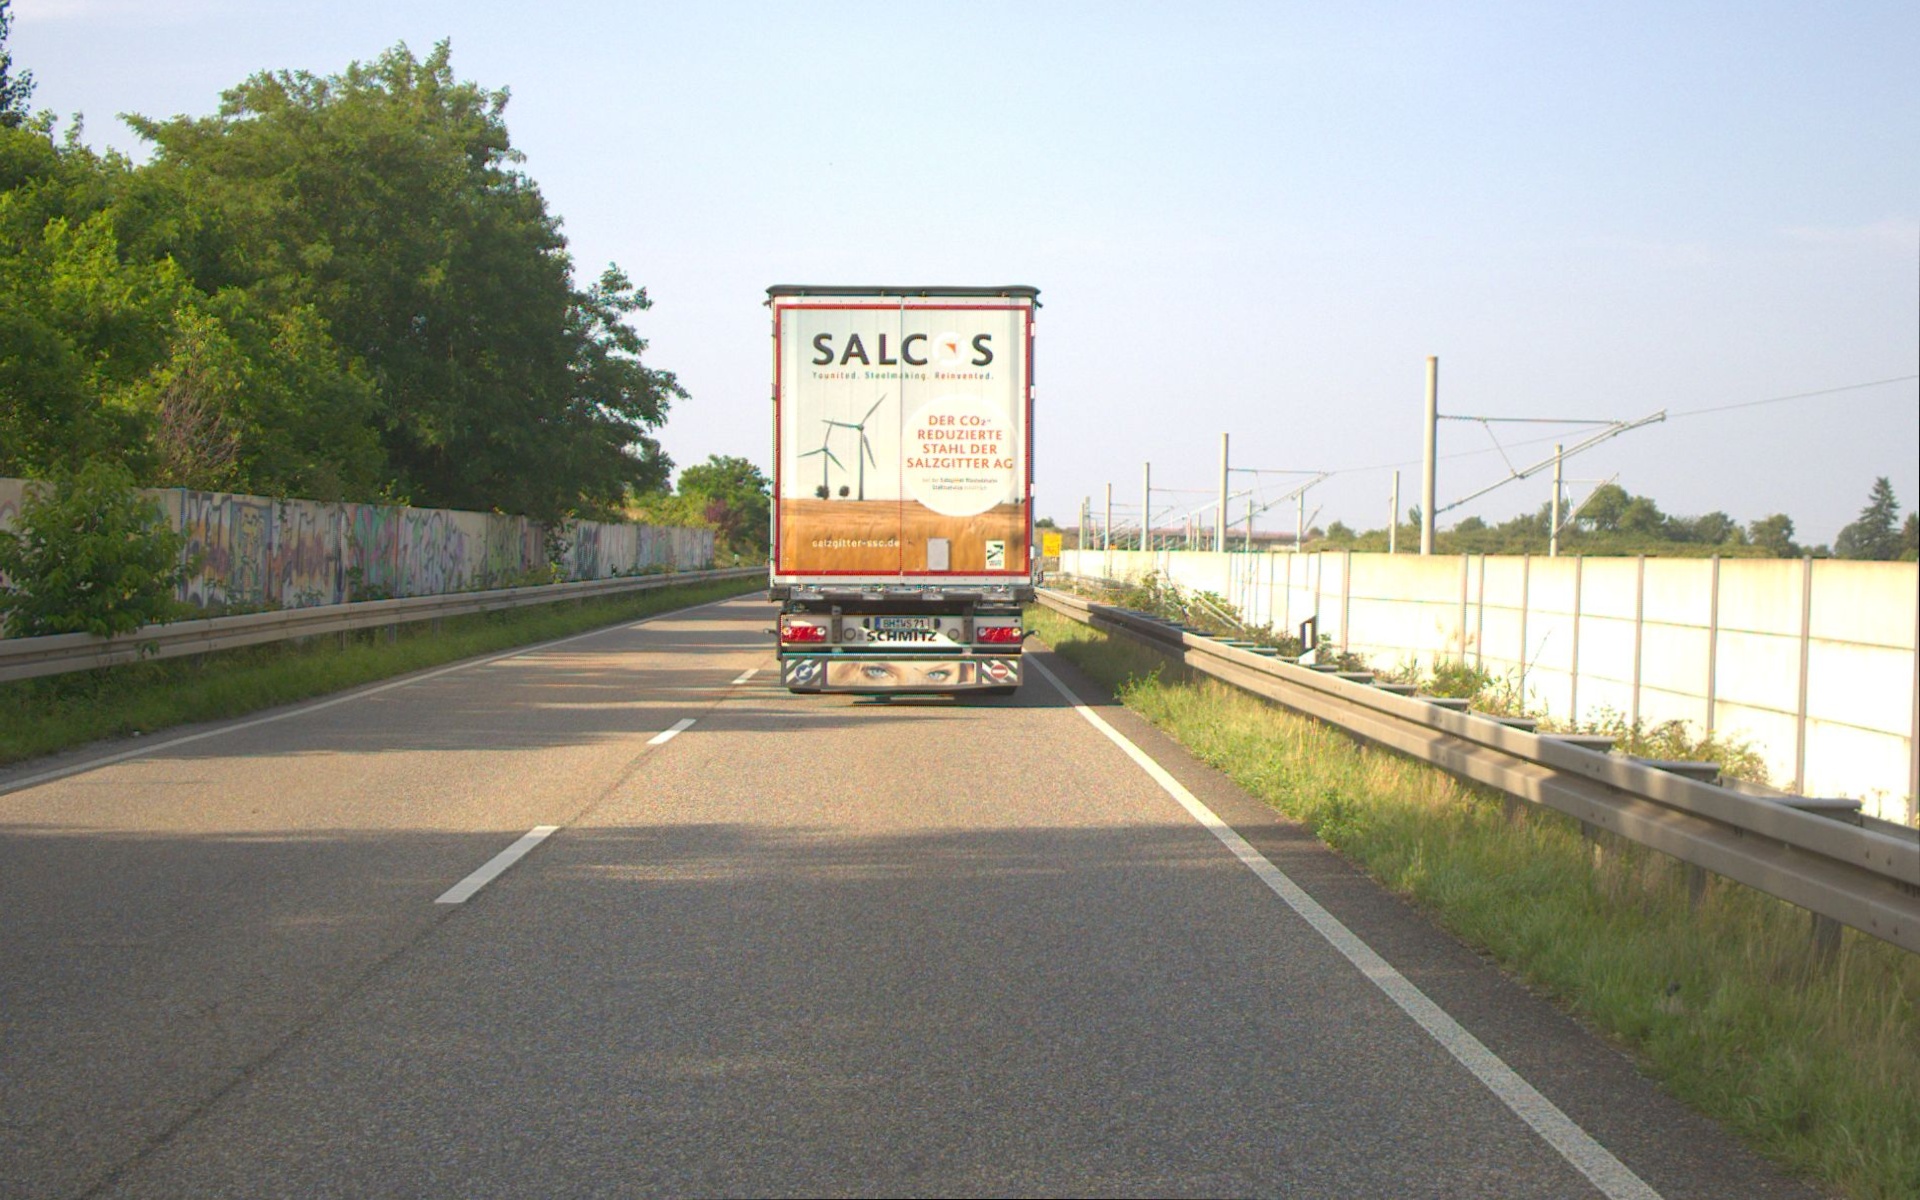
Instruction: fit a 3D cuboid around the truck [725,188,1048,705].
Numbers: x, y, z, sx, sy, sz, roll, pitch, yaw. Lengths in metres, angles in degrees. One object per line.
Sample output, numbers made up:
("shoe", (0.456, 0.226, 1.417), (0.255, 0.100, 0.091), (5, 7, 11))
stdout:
("truck", (-0.823, -1.577, 38.730), (3.033, 4.903, 11.685), (1, 1, -1))
